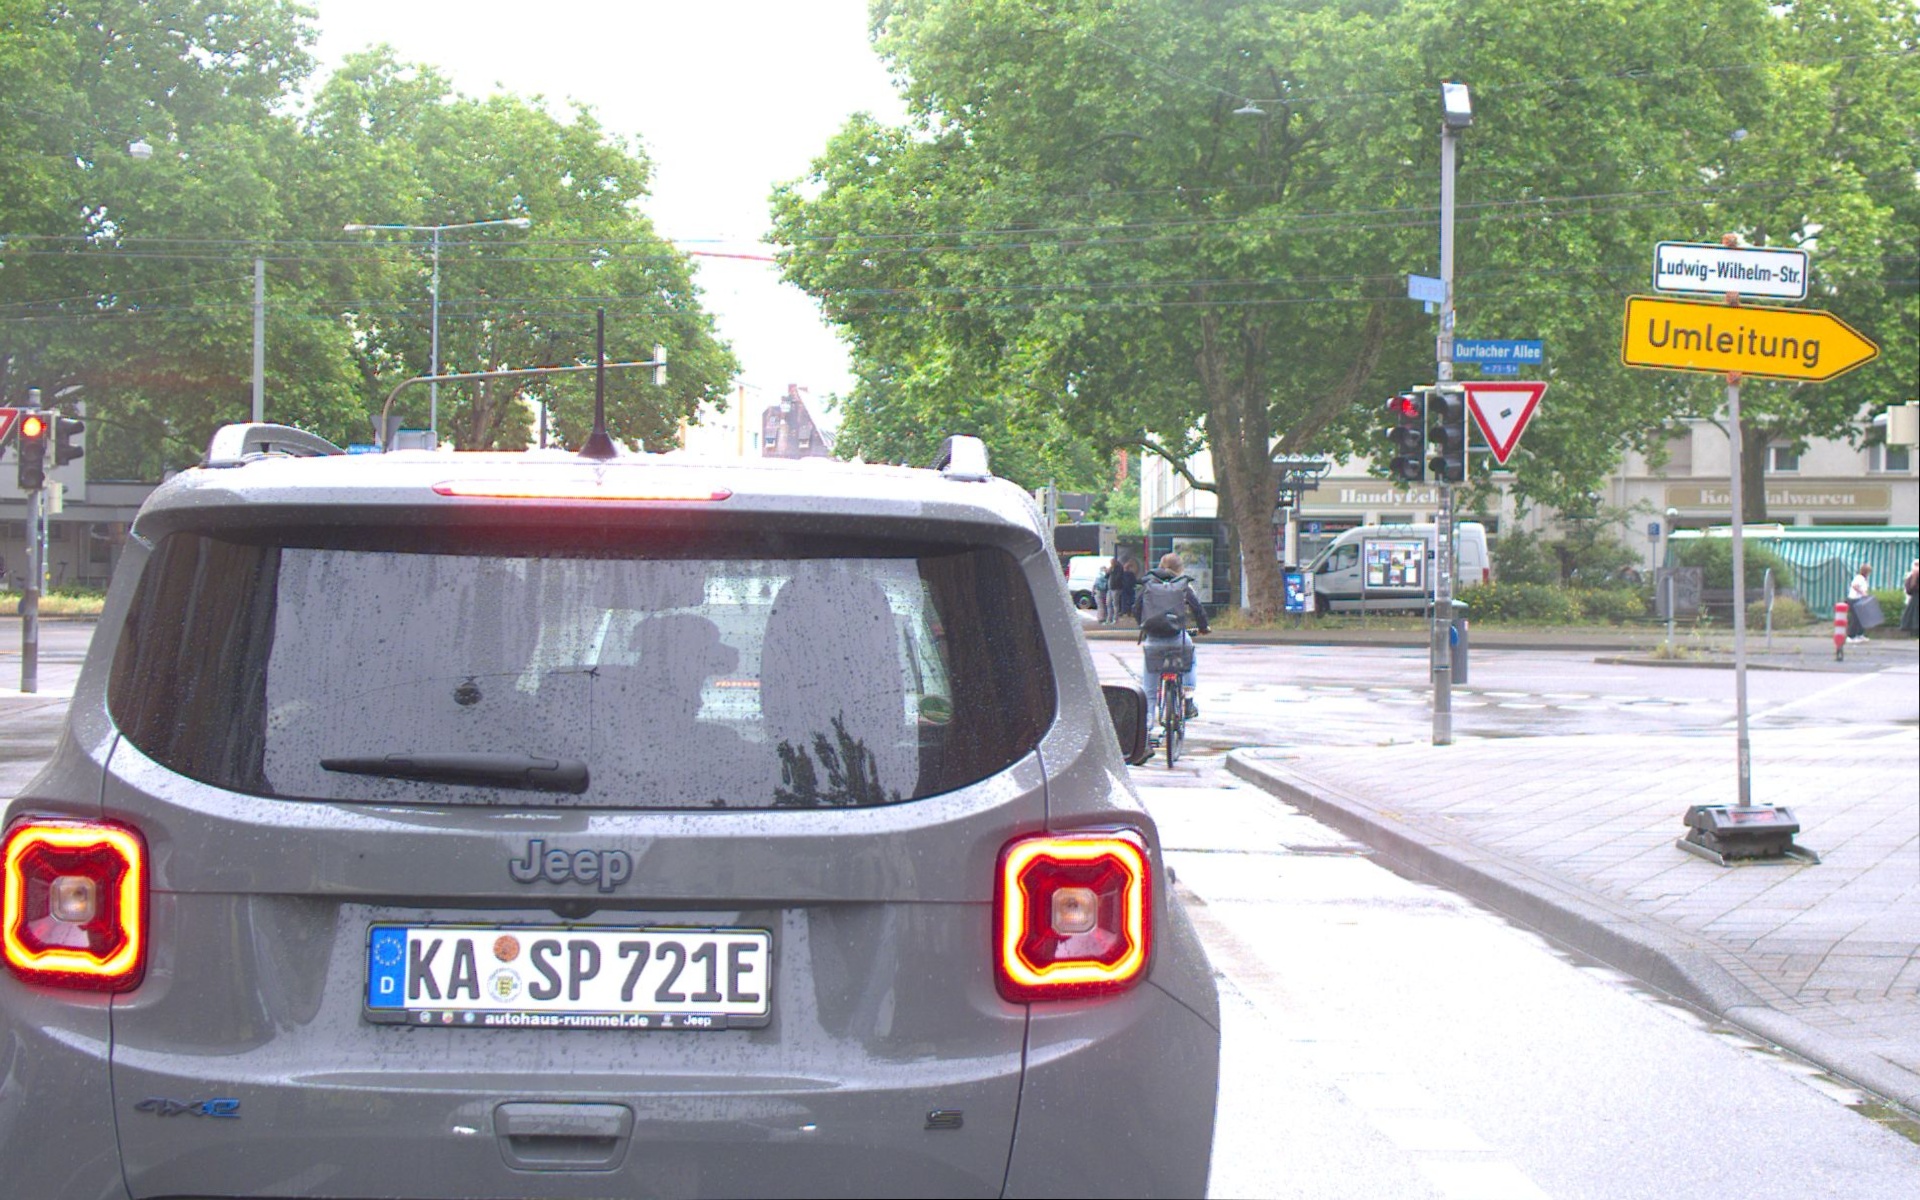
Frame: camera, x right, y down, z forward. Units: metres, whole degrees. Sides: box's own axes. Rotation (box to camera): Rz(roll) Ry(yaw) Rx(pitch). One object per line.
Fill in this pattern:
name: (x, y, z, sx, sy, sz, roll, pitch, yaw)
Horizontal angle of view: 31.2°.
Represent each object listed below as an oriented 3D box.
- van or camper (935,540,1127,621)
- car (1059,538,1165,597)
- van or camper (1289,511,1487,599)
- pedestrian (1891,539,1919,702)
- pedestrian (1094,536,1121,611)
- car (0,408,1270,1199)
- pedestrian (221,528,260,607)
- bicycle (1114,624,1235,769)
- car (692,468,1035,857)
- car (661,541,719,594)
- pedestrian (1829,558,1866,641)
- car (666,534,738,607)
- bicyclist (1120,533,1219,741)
van or camper: (2.565, -0.733, 124.763, 6.535, 2.902, 2.491, 1, 1, 24)
car: (5.277, -1.115, 119.443, 3.438, 2.007, 1.547, 0, 0, 13)
van or camper: (11.766, -1.257, 94.809, 5.260, 2.307, 2.090, 1, 1, 3)
pedestrian: (10.593, 0.214, 37.590, 0.786, 1.753, 0.945, 0, 1, 14)
pedestrian: (3.980, -0.709, 92.617, 0.651, 2.007, 0.482, 1, 1, 12)
car: (-0.562, 0.579, 6.165, 1.775, 1.681, 3.848, -1, 1, -2)
pedestrian: (-16.679, -0.760, 79.700, 0.619, 1.820, 0.693, 0, 1, 19)
bicycle: (1.668, 0.734, 27.090, 0.691, 1.018, 2.658, -1, 1, -2)
car: (-0.539, 0.291, 19.822, 1.770, 2.007, 4.000, 0, 1, -1)
car: (-8.655, -1.044, 109.966, 1.813, 1.665, 3.921, 0, 1, -5)
pedestrian: (17.179, -0.020, 66.525, 0.613, 1.598, 0.493, 0, 1, 24)
car: (-6.351, -0.734, 84.425, 1.721, 1.733, 3.730, 0, 1, -5)
bicyclist: (1.652, 0.280, 27.185, 0.687, 1.612, 0.884, -1, 1, -2)
